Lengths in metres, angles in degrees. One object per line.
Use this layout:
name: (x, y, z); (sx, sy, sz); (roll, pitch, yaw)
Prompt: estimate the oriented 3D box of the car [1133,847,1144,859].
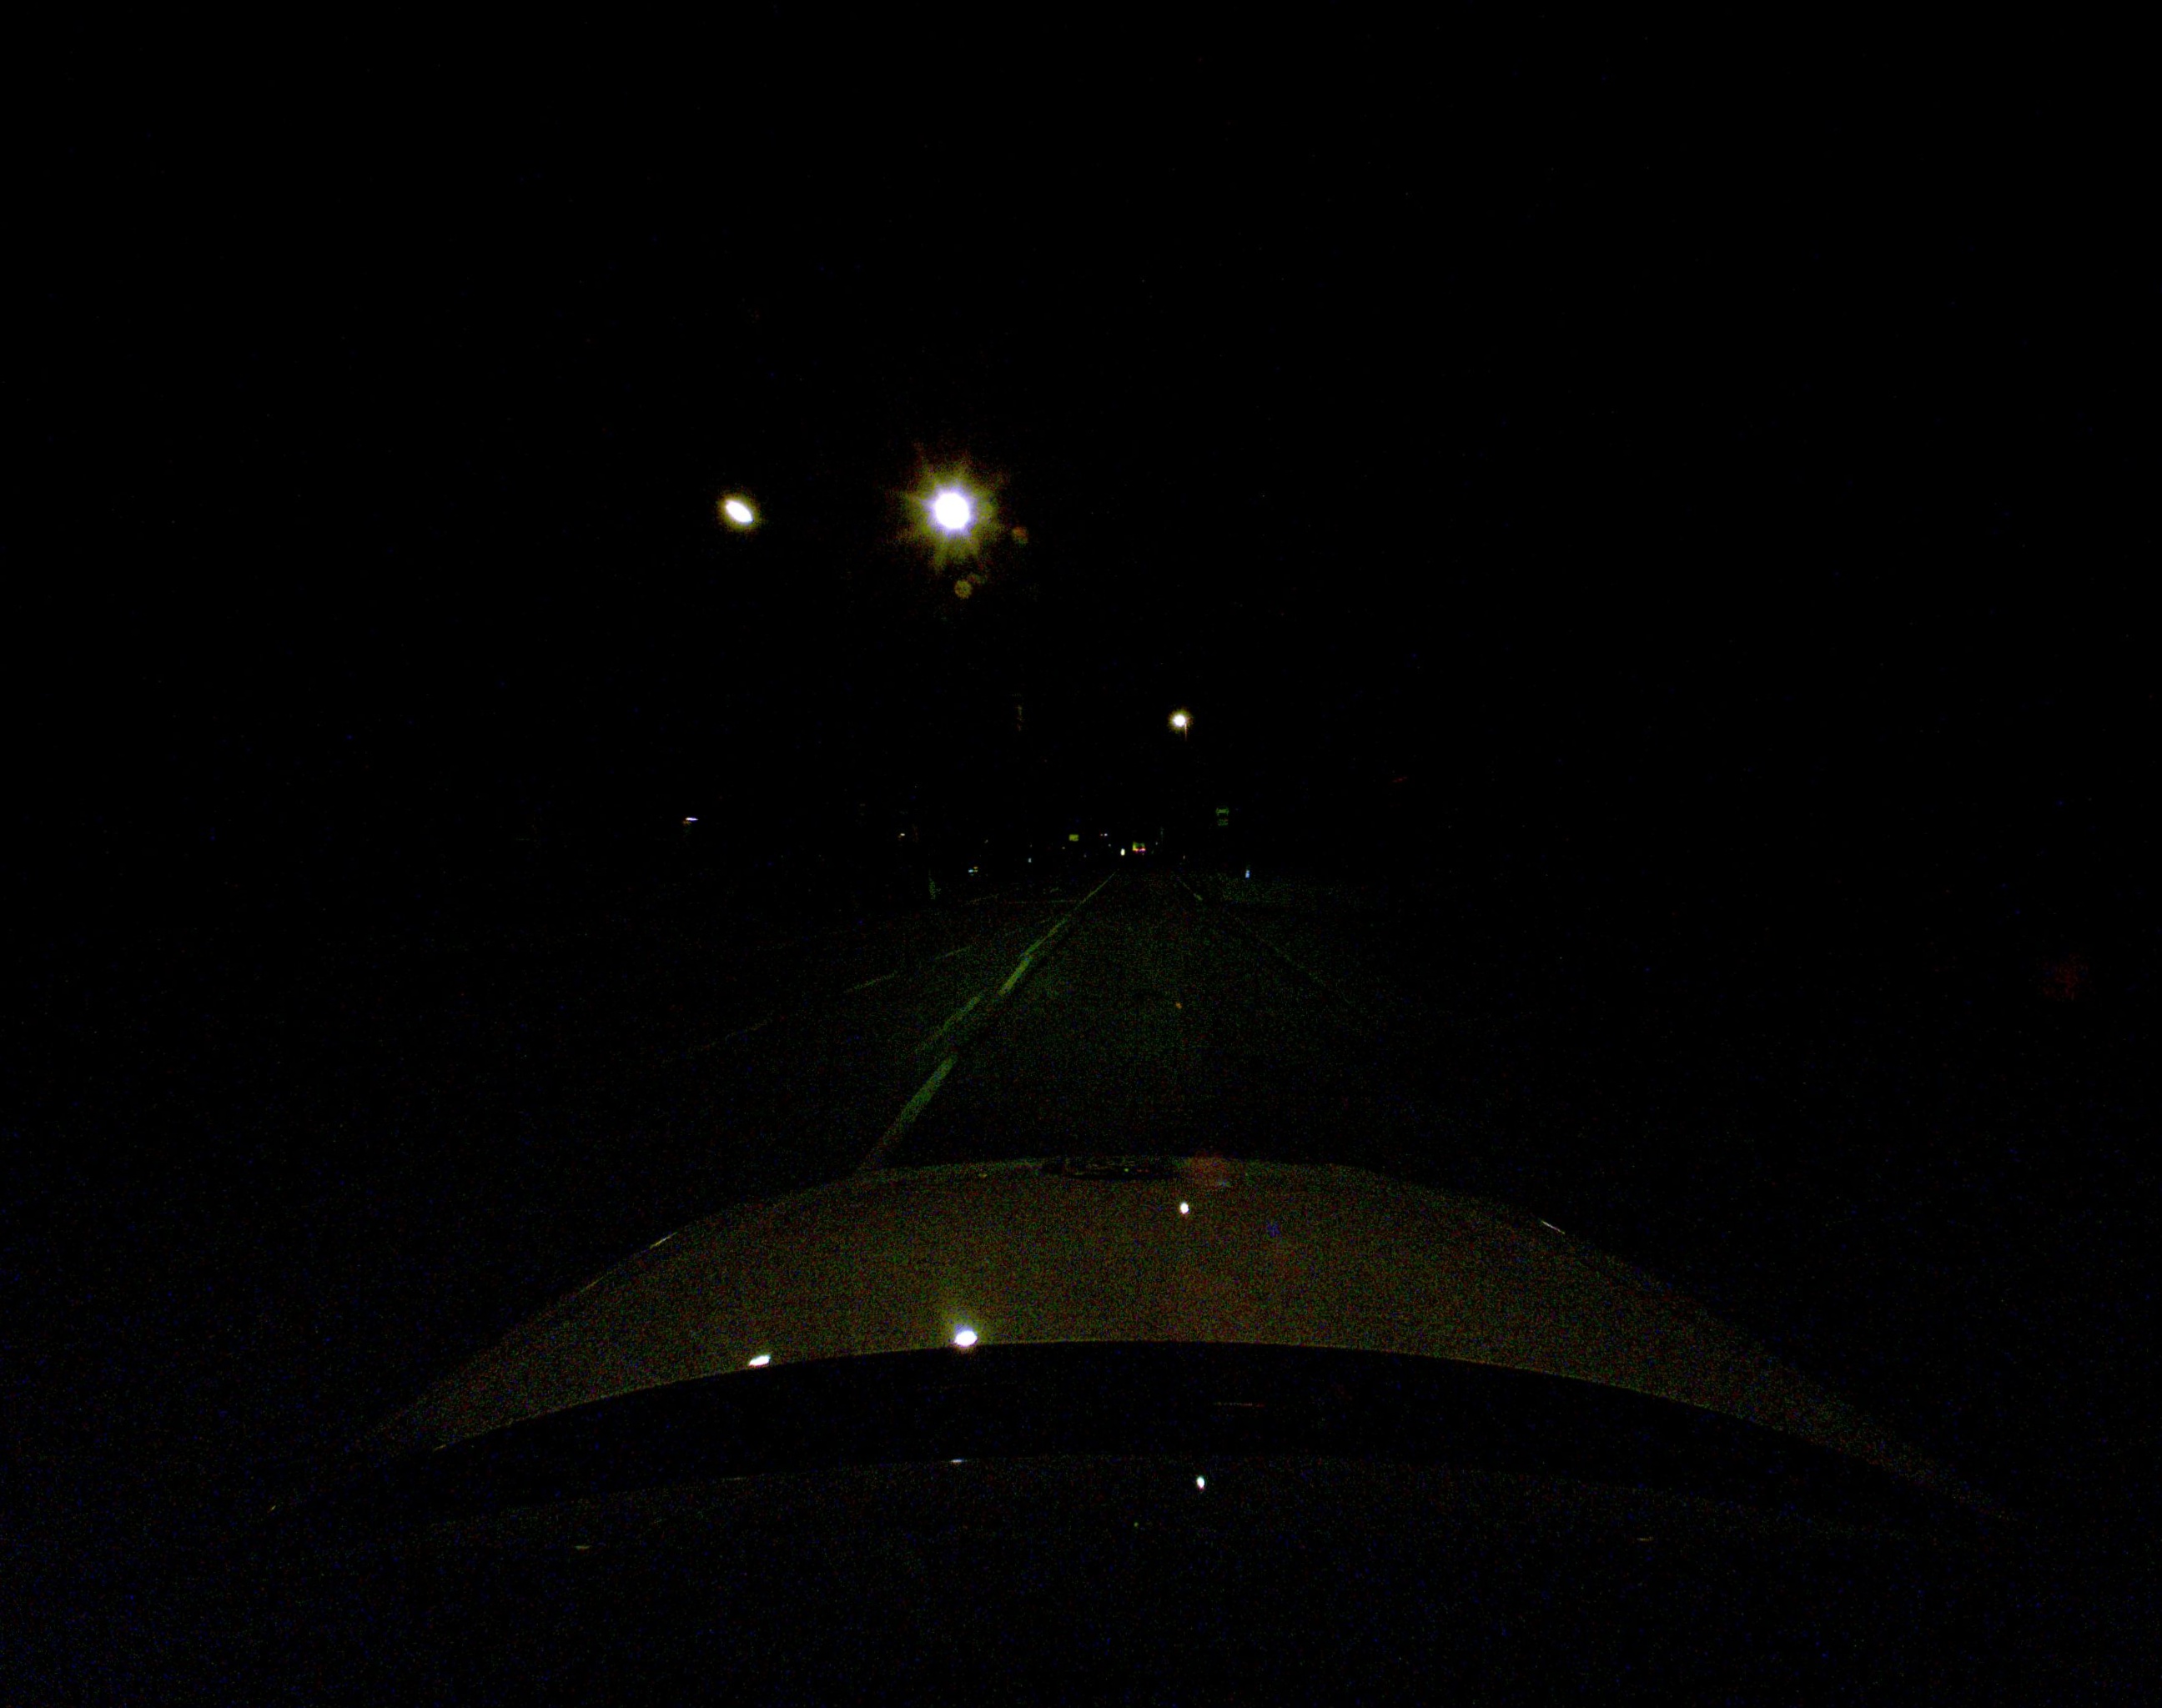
car: (10.961, -0.193, 154.685); (1.985, 2.014, 4.003); (-1, -2, 3)
